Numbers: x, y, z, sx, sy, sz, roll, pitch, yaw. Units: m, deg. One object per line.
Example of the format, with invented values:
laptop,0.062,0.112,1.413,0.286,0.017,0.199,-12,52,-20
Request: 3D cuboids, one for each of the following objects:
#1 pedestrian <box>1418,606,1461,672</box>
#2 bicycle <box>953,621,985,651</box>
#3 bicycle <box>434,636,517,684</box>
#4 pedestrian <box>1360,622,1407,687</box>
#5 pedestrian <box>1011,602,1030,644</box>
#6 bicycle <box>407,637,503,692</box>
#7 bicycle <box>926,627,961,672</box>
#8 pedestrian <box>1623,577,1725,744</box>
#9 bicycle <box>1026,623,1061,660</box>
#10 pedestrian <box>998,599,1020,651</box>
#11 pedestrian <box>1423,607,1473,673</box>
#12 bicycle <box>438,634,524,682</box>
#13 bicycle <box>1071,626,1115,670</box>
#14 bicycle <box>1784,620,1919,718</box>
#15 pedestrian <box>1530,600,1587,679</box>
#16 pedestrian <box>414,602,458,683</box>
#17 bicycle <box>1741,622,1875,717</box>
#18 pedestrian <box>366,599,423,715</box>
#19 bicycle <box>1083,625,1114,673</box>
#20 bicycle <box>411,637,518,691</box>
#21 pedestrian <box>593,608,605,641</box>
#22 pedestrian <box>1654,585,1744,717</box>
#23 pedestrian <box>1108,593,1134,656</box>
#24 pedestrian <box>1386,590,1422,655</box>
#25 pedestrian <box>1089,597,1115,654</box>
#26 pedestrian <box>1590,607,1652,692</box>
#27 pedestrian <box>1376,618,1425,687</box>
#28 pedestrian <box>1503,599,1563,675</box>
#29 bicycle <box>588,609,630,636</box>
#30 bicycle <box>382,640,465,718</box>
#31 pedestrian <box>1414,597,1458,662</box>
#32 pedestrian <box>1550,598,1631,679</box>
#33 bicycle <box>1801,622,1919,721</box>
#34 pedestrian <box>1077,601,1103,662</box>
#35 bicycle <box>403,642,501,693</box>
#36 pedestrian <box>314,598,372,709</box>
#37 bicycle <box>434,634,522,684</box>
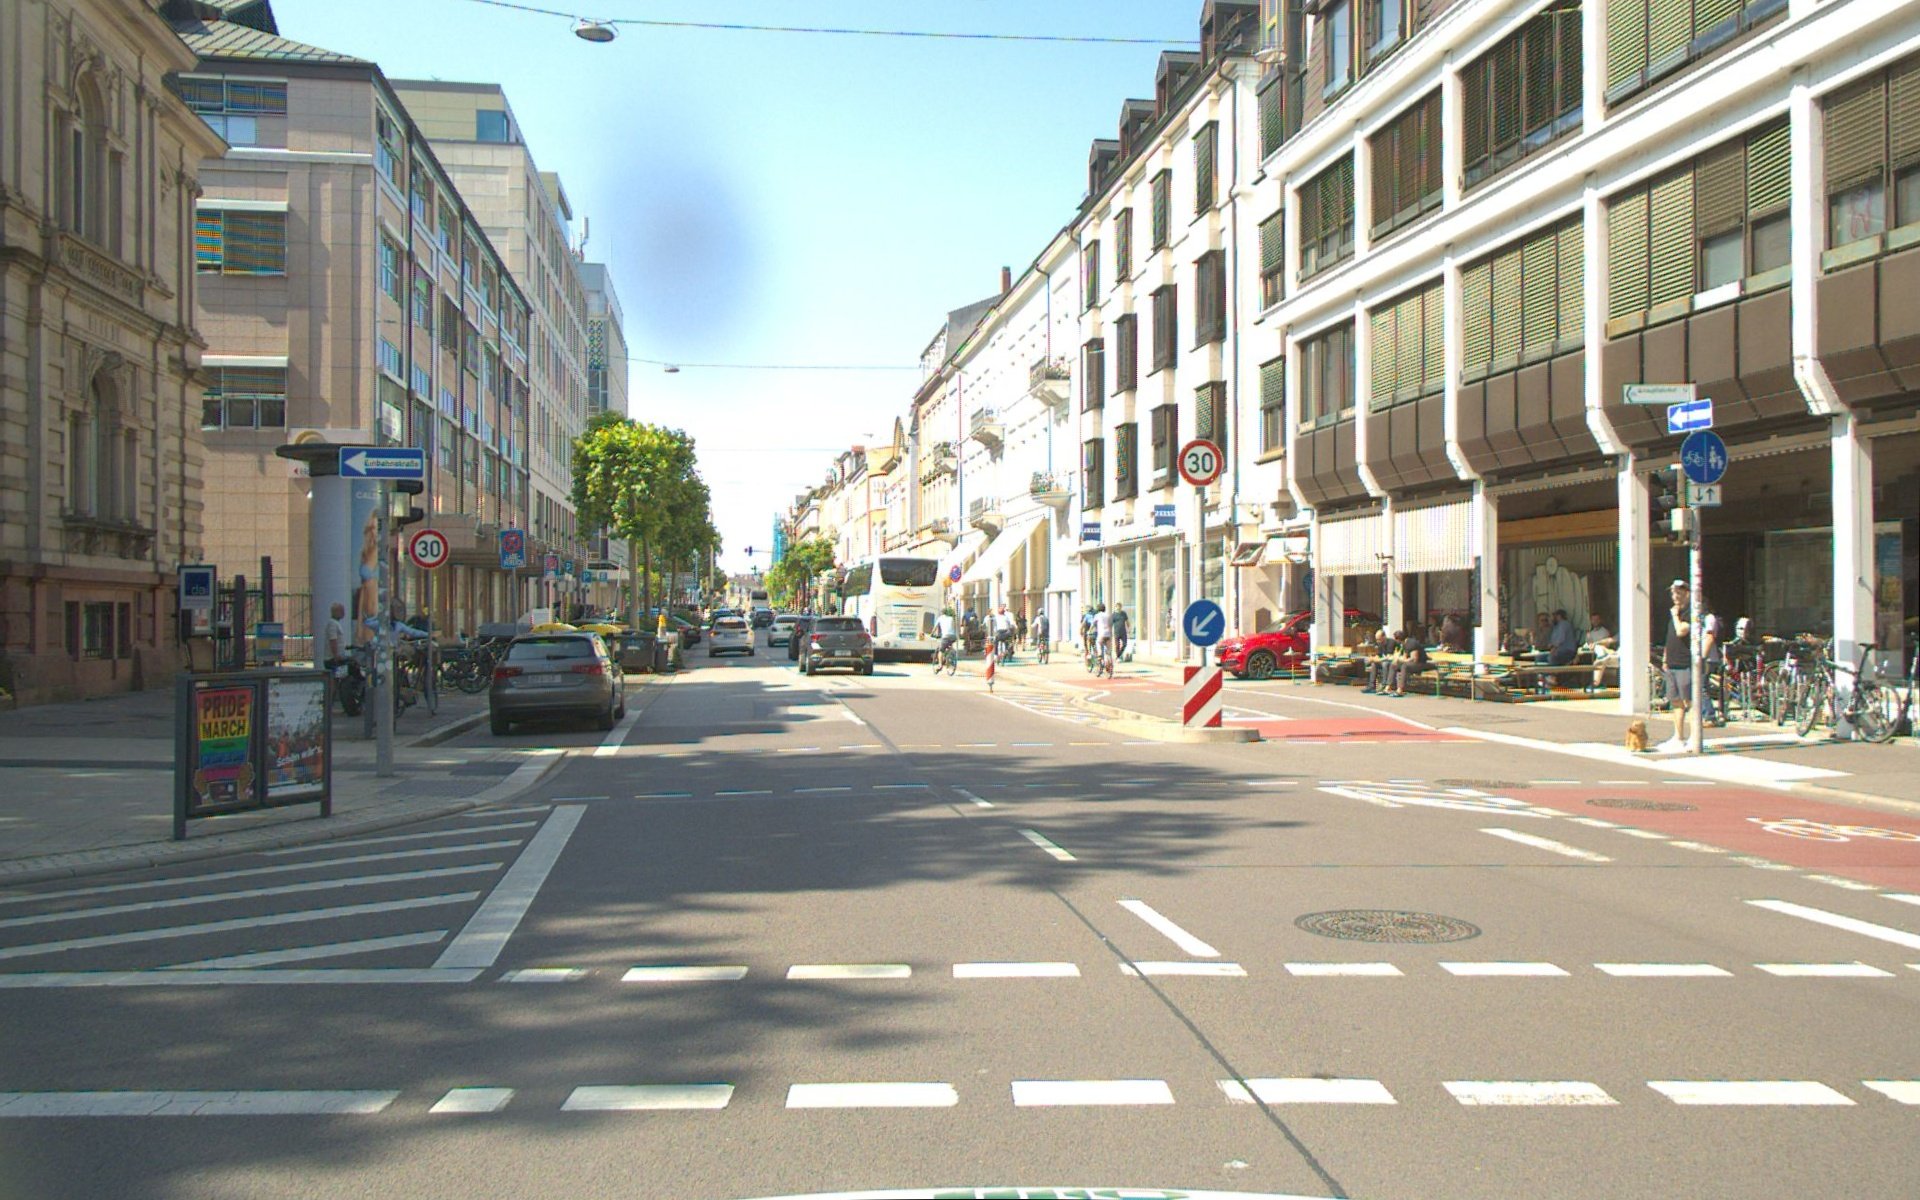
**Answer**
pedestrian,10.267,0.828,35.447,0.747,1.391,0.477,0,-1,-10
bicycle,0.338,1.358,62.596,0.822,1.118,2.347,0,-1,-10
bicycle,-11.275,1.400,38.532,1.811,1.092,0.555,0,-2,-12
pedestrian,7.987,1.027,31.215,0.696,1.193,0.696,-1,-2,0
pedestrian,2.371,0.924,65.230,0.633,1.646,0.821,0,-2,-6
bicycle,-10.880,1.392,35.613,1.930,1.140,0.553,2,-2,-20
bicycle,-0.459,1.342,45.500,0.652,1.140,2.239,1,0,-8
pedestrian,8.167,0.688,18.946,0.815,1.868,0.696,-1,-2,0
bicycle,2.580,1.269,51.370,0.609,1.118,2.347,0,-1,-10
pedestrian,1.676,0.856,56.557,0.608,1.750,0.834,0,-1,-8
pedestrian,10.311,0.840,34.984,0.861,1.391,0.536,0,-1,-10
bicycle,-11.513,1.387,39.790,1.932,1.140,0.507,0,-2,-12
bicycle,3.521,1.253,43.885,0.609,1.118,2.347,0,-1,-10
bicycle,11.114,0.853,20.472,1.682,1.140,0.277,-2,0,-2
pedestrian,10.971,0.725,30.323,0.698,1.421,0.695,-1,-2,-9
pedestrian,-11.427,0.917,36.085,0.874,1.755,0.745,0,-1,-15
bicycle,10.738,0.875,20.947,1.539,1.140,0.277,-2,0,-2
pedestrian,-8.630,0.864,25.258,0.681,1.725,0.690,-1,-2,-6
bicycle,3.457,1.219,41.389,0.582,1.140,1.801,-1,0,0
bicycle,-10.864,1.401,36.278,2.202,1.140,0.553,2,-2,-20
pedestrian,-18.424,1.229,84.405,0.556,1.686,0.634,0,-1,-15
pedestrian,9.694,0.666,21.716,0.815,1.692,0.696,-1,-2,0
pedestrian,4.882,0.761,50.224,0.680,1.883,0.835,-1,-2,0
pedestrian,9.658,0.477,35.964,0.525,1.391,0.688,0,-1,-8
pedestrian,4.333,0.772,50.541,0.680,1.715,0.835,-1,-1,0
pedestrian,11.279,0.840,28.239,0.698,1.421,0.695,-1,-2,-9
pedestrian,8.078,0.970,30.365,0.696,1.238,0.696,-1,-2,0
pedestrian,10.786,0.695,31.146,0.798,1.421,0.695,0,-1,-10
bicycle,-17.883,1.142,84.281,2.031,1.311,0.366,2,-1,-16
bicycle,-8.236,1.205,25.459,0.420,1.140,2.243,1,-2,3
pedestrian,10.363,0.631,36.012,0.730,1.391,0.583,0,-1,-10
pedestrian,11.122,0.679,29.190,0.879,1.374,1.103,-1,-2,-9
bicycle,11.129,0.864,20.075,1.682,1.140,0.277,-2,0,-2
pedestrian,3.773,0.907,48.026,0.608,1.750,0.834,-1,-1,-6
bicycle,-10.717,1.427,34.908,1.933,1.035,0.667,2,-2,-20
pedestrian,-9.575,0.829,25.690,0.538,1.694,0.937,-1,-2,0
bicycle,-11.409,1.410,39.199,1.939,1.140,0.507,2,-2,-12
